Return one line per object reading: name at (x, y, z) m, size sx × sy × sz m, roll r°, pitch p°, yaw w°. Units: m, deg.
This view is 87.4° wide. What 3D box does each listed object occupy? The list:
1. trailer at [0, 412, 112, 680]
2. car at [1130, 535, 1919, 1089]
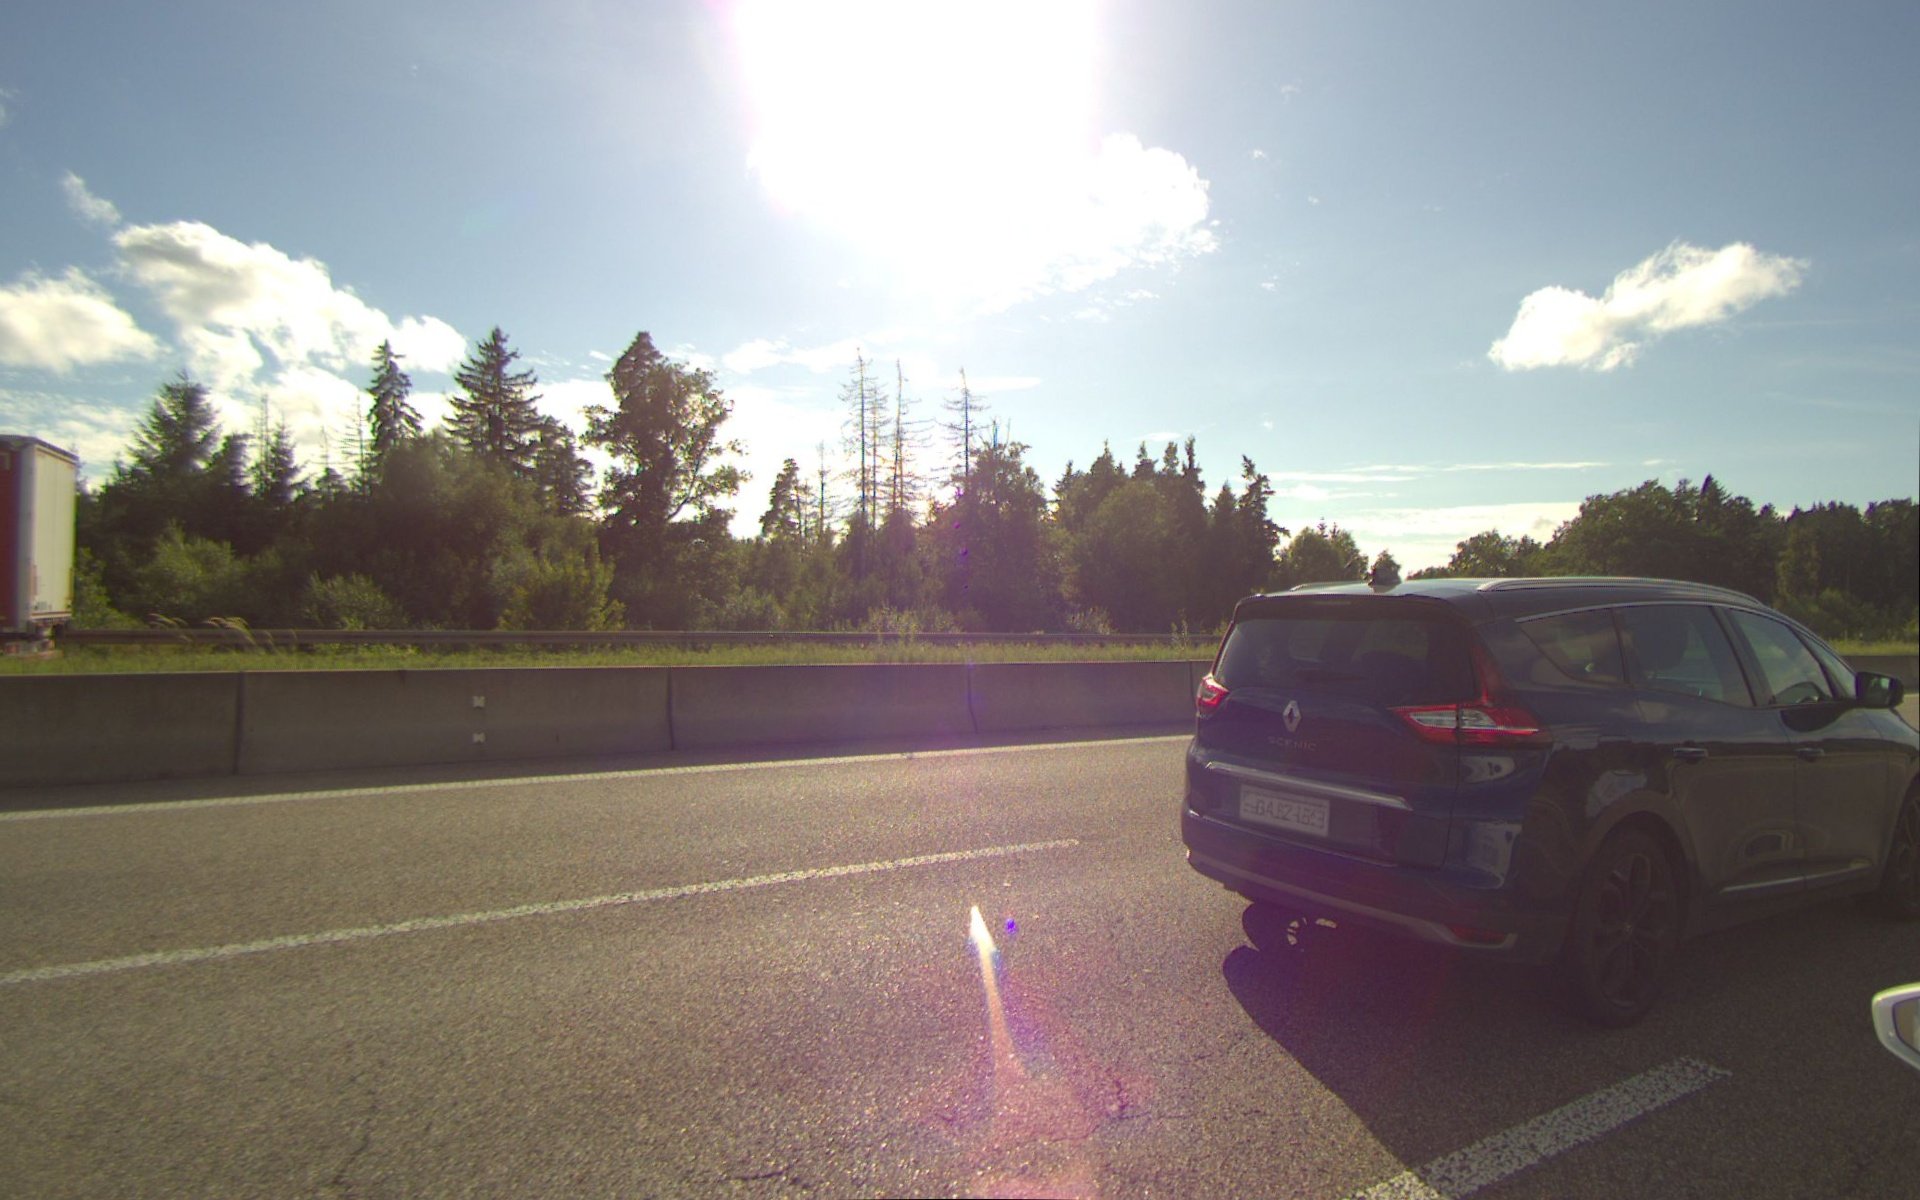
trailer at (-20.474, -0.965, 14.114) m, size 12.642 × 4.163 × 3.007 m, roll 1°, pitch 0°, yaw -31°
car at (3.240, 0.707, 5.179) m, size 4.478 × 1.729 × 1.983 m, roll 1°, pitch 0°, yaw -32°
